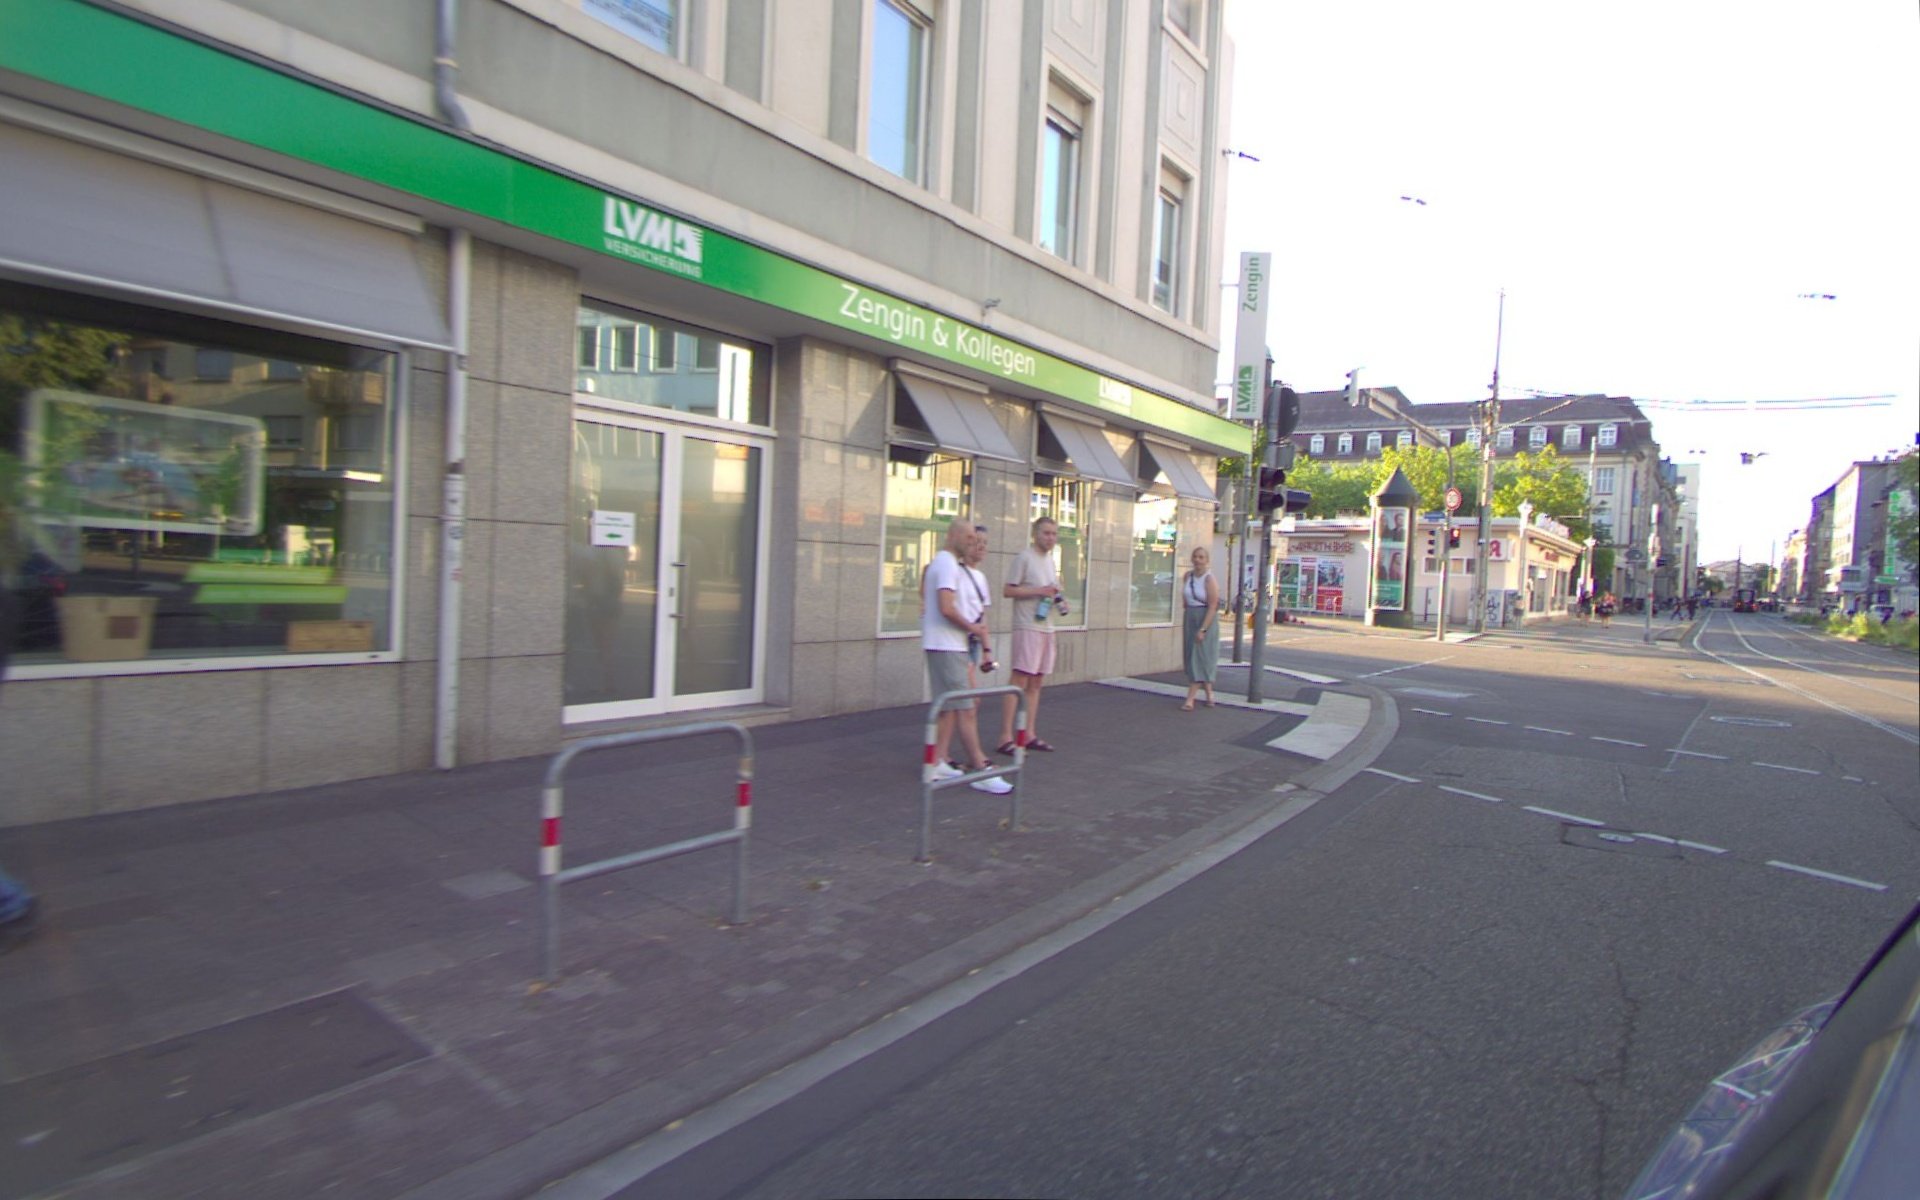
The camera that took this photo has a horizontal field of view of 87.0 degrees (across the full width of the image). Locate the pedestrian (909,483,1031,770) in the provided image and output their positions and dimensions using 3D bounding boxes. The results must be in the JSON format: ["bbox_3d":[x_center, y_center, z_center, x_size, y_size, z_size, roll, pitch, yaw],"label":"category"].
[{"bbox_3d":[0.078,0.166,7.274,0.634,1.952,0.525,4,2,26],"label":"pedestrian"}]

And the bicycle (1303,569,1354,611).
[{"bbox_3d":[14.189,-0.381,38.946,1.950,1.541,0.480,2,2,-22],"label":"bicycle"}]

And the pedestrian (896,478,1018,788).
[{"bbox_3d":[-0.019,0.189,6.722,0.570,1.952,0.491,4,2,27],"label":"pedestrian"}]

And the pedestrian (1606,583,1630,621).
[{"bbox_3d":[29.040,0.084,44.665,0.802,1.632,0.981,3,2,37],"label":"pedestrian"}]

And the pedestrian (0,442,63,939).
[{"bbox_3d":[-3.462,0.269,3.177,0.696,1.567,0.857,4,2,40],"label":"pedestrian"}]

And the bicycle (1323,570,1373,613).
[{"bbox_3d":[14.476,-0.307,37.755,1.951,1.541,0.480,2,2,-28],"label":"bicycle"}]

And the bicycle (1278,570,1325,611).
[{"bbox_3d":[13.487,-0.385,39.968,1.951,1.541,0.480,2,2,-27],"label":"bicycle"}]

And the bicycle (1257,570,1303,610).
[{"bbox_3d":[12.921,-0.401,40.843,1.951,1.541,0.480,2,2,-27],"label":"bicycle"}]

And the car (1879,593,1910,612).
[{"bbox_3d":[87.589,0.263,94.884,1.841,1.655,3.942,4,3,40],"label":"car"}]

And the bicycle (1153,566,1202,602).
[{"bbox_3d":[9.908,-0.718,46.111,2.184,1.541,0.682,2,2,-27],"label":"bicycle"}]

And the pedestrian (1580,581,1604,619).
[{"bbox_3d":[28.370,-0.016,45.424,0.802,1.632,0.981,3,2,37],"label":"pedestrian"}]

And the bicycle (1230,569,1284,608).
[{"bbox_3d":[12.247,-0.466,41.665,2.184,1.541,0.682,2,2,-27],"label":"bicycle"}]

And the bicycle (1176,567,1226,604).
[{"bbox_3d":[10.789,-0.639,45.357,2.184,1.541,0.682,2,2,-27],"label":"bicycle"}]

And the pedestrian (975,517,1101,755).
[{"bbox_3d":[0.619,0.254,7.990,0.637,1.766,0.689,4,2,40],"label":"pedestrian"}]

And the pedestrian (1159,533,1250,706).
[{"bbox_3d":[2.672,0.192,11.062,0.669,1.800,0.638,4,2,41],"label":"pedestrian"}]
